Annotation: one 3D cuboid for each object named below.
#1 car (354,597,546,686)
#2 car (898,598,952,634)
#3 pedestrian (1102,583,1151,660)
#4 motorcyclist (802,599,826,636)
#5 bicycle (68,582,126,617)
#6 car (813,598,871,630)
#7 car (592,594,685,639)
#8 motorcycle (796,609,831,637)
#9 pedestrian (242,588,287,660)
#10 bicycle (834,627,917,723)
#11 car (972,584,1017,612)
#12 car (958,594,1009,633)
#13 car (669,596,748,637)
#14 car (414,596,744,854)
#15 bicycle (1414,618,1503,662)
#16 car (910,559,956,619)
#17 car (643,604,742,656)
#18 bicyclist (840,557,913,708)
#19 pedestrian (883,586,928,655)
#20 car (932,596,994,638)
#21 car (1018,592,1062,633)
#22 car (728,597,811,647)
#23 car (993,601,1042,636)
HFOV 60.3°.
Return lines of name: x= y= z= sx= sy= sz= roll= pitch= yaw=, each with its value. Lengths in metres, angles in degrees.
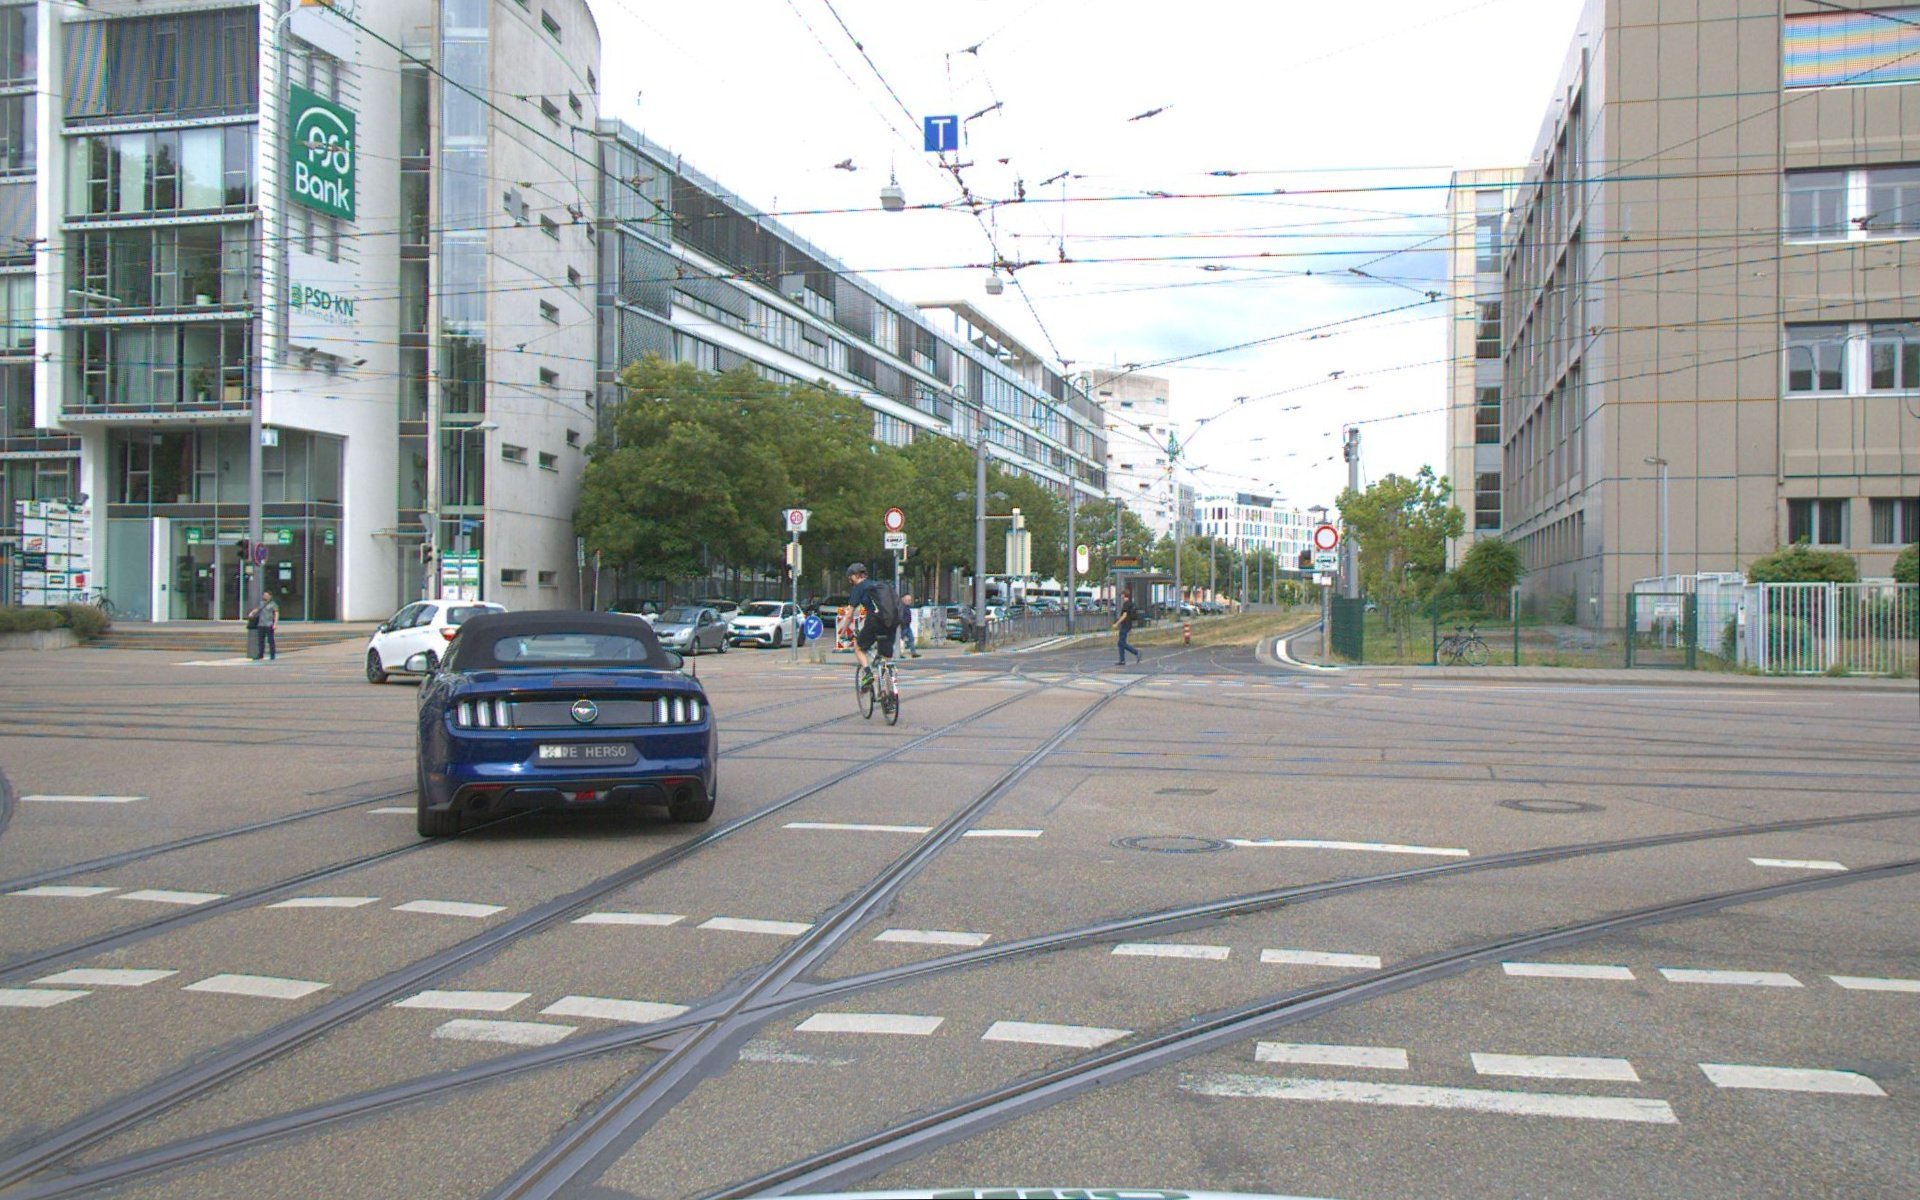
car: x=-9.193 y=0.693 z=29.636 sx=1.825 sy=1.464 sz=4.125 roll=0 pitch=0 yaw=-41
car: x=-1.734 y=0.783 z=82.623 sx=1.678 sy=1.689 sz=4.136 roll=2 pitch=0 yaw=13
pedestrian: x=4.245 y=0.545 z=42.098 sx=1.063 sy=1.931 sz=0.902 roll=0 pitch=0 yaw=18
motorcyclist: x=-6.501 y=0.777 z=73.831 sx=0.802 sy=1.645 sz=0.883 roll=1 pitch=0 yaw=13
bicycle: x=-29.996 y=-0.003 z=57.509 sx=0.572 sy=1.197 sz=2.116 roll=1 pitch=-1 yaw=11
car: x=-6.164 y=0.698 z=86.906 sx=1.944 sy=1.584 sz=4.516 roll=2 pitch=0 yaw=10
car: x=-12.004 y=0.594 z=62.054 sx=1.791 sy=1.584 sz=4.220 roll=2 pitch=0 yaw=13
motorcycle: x=-6.519 y=1.004 z=73.777 sx=0.808 sy=1.221 sz=2.504 roll=1 pitch=0 yaw=13
pedestrian: x=-18.538 y=0.622 z=44.093 sx=0.816 sy=1.897 sz=0.766 roll=0 pitch=0 yaw=22
bicycle: x=-1.081 y=0.907 z=20.691 sx=0.786 sy=1.105 sz=2.126 roll=0 pitch=0 yaw=-10
car: x=2.144 y=-0.097 z=100.775 sx=1.863 sy=1.613 sz=4.185 roll=2 pitch=0 yaw=13
car: x=1.060 y=0.564 z=72.063 sx=1.668 sy=1.634 sz=4.082 roll=0 pitch=0 yaw=9
car: x=-10.474 y=0.672 z=69.169 sx=1.791 sy=1.584 sz=4.220 roll=2 pitch=0 yaw=13
car: x=-2.875 y=0.714 z=11.748 sx=1.848 sy=1.428 sz=4.258 roll=0 pitch=0 yaw=-19
bicycle: x=11.892 y=0.970 z=39.526 sx=0.626 sy=0.998 sz=2.134 roll=0 pitch=-3 yaw=-32
car: x=-1.683 y=-0.692 z=105.465 sx=1.944 sy=3.700 sz=4.516 roll=2 pitch=0 yaw=10
car: x=-8.610 y=0.935 z=53.544 sx=1.632 sy=1.533 sz=4.238 roll=2 pitch=0 yaw=13
bicyclist: x=-1.059 y=0.394 z=20.673 sx=0.781 sy=1.817 sz=1.230 roll=0 pitch=0 yaw=-9
pedestrian: x=-1.504 y=0.562 z=45.804 sx=0.969 sy=1.888 sz=0.901 roll=0 pitch=0 yaw=23
car: x=0.151 y=0.665 z=66.459 sx=1.839 sy=1.657 sz=4.090 roll=0 pitch=0 yaw=9
car: x=4.113 y=0.634 z=84.450 sx=1.747 sy=2.022 sz=4.124 roll=0 pitch=0 yaw=9
car: x=-6.968 y=0.778 z=60.807 sx=1.678 sy=1.689 sz=4.136 roll=2 pitch=0 yaw=13
car: x=2.786 y=0.862 z=79.639 sx=1.828 sy=1.634 sz=4.216 roll=0 pitch=0 yaw=9
